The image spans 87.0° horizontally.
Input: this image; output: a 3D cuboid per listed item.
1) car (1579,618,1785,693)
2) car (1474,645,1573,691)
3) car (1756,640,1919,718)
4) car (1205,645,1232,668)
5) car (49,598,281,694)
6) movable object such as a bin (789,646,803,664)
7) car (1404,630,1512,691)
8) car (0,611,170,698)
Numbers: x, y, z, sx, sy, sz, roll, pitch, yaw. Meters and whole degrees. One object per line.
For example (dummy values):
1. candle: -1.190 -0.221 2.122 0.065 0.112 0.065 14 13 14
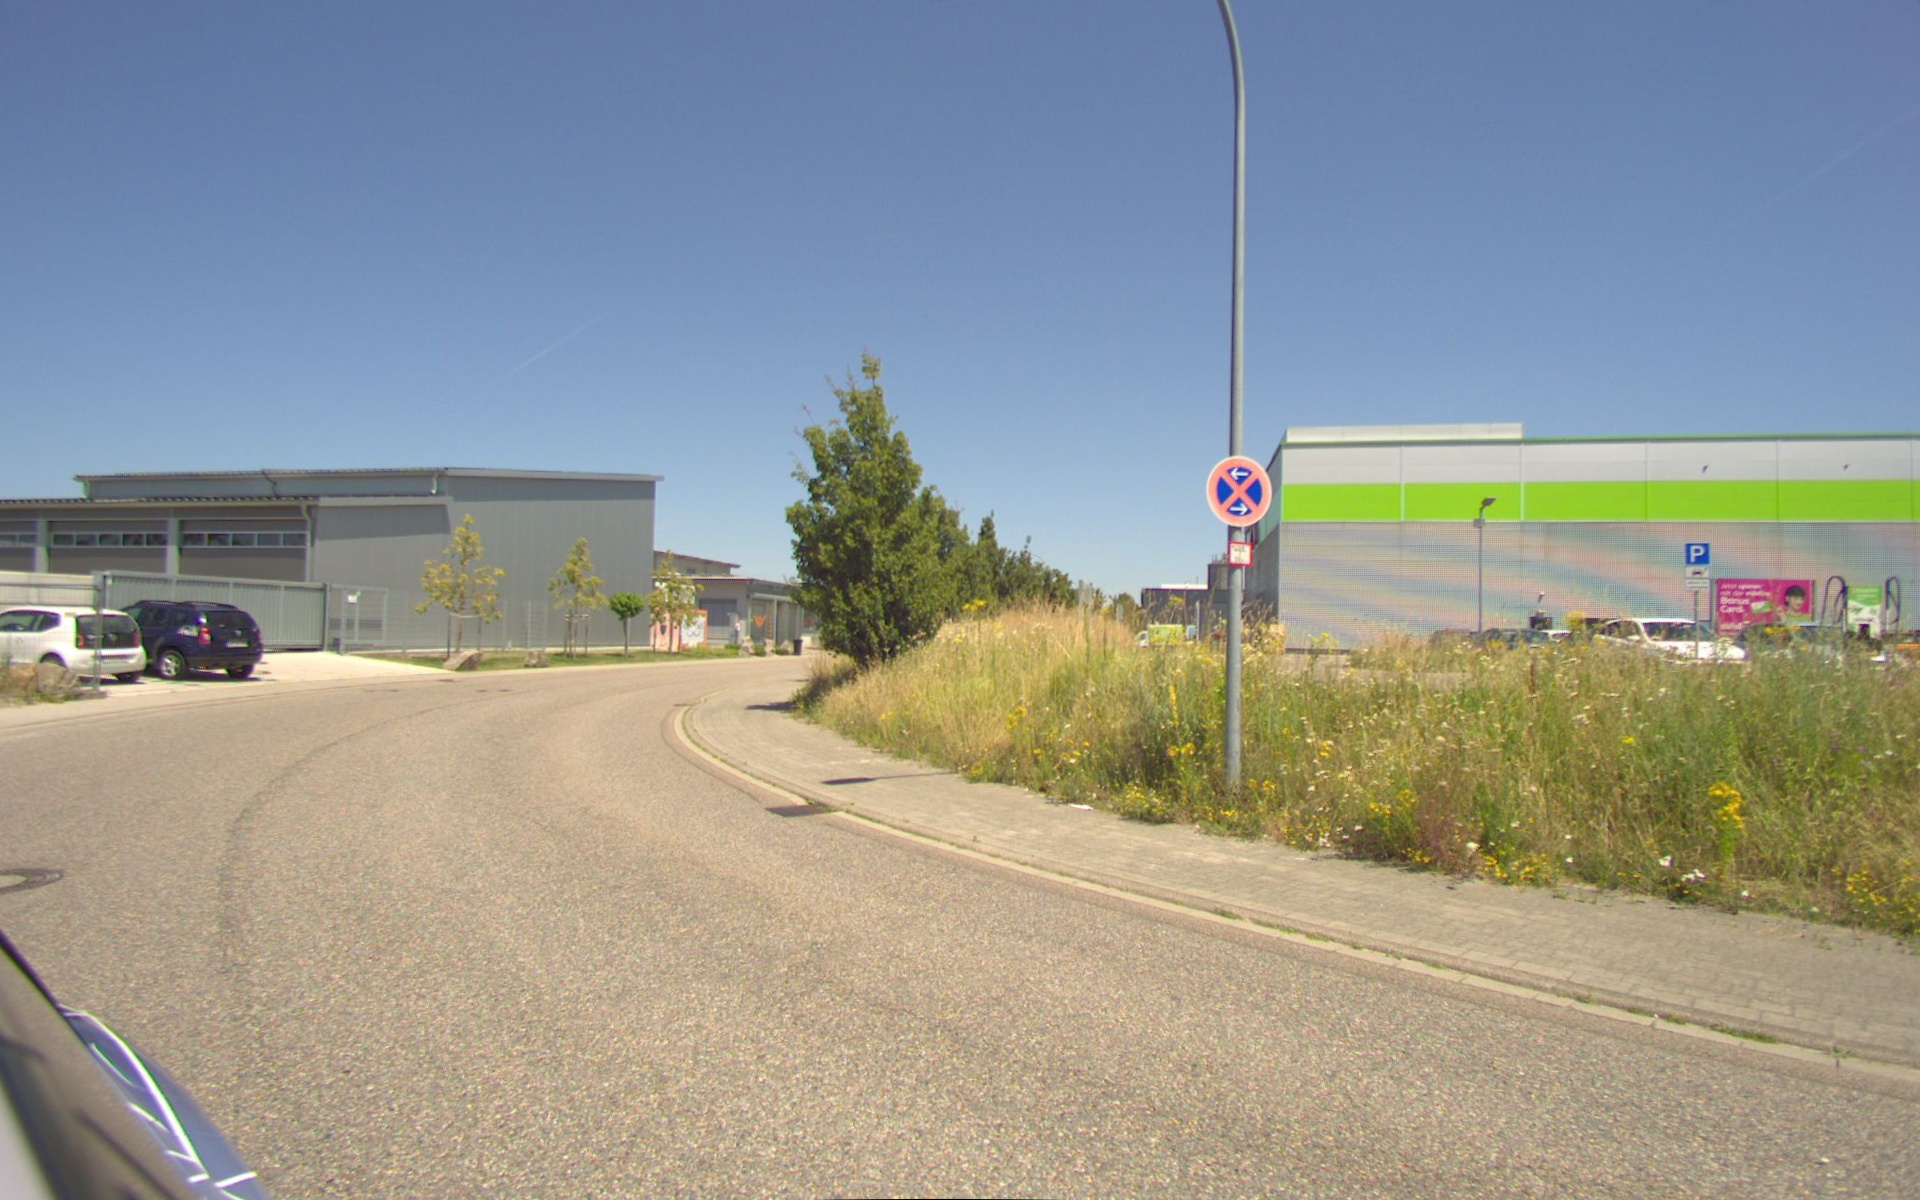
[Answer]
1. car: 15.150 1.170 21.543 1.978 1.423 3.987 0 -3 10
2. car: 17.724 2.122 32.022 1.474 1.335 3.987 0 -3 10
3. car: 18.045 1.542 20.272 1.624 1.410 3.787 0 -3 10
4. car: 15.904 3.467 62.405 1.421 1.362 3.225 -1 -3 12
5. car: -17.605 0.997 22.488 3.983 1.667 1.851 5 -2 12
6. movable object such as a bin: -9.079 3.024 56.010 0.554 0.954 0.537 1 -2 11
7. car: 15.718 1.898 32.153 1.978 1.790 3.987 0 -3 10
8. car: -18.371 1.031 20.215 3.981 1.473 1.885 3 -2 12
